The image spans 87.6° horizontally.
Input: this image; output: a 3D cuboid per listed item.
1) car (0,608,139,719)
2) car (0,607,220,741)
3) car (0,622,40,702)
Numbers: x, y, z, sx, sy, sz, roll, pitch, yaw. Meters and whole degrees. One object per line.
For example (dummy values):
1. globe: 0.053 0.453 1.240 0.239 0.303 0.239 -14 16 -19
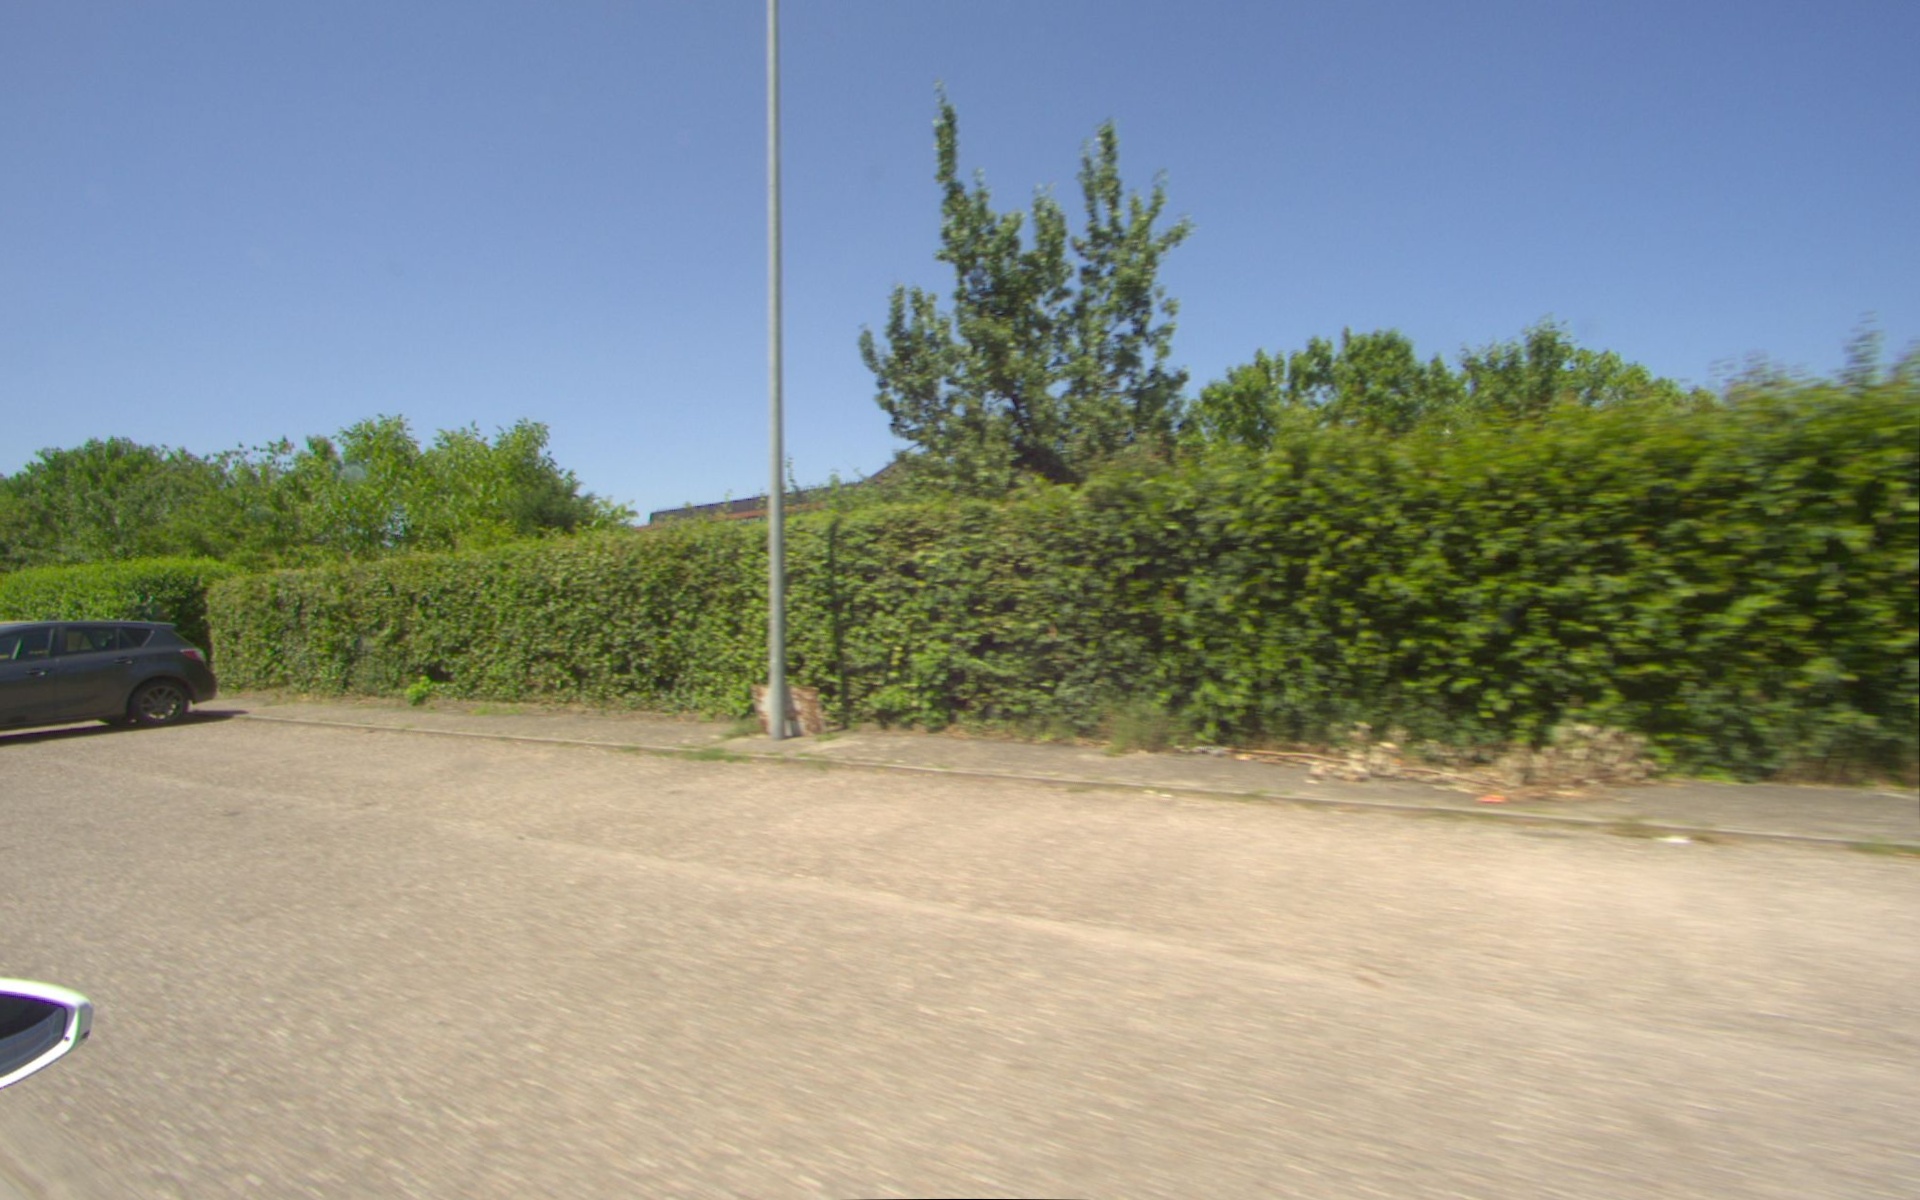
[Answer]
1. car: -14.600 0.994 14.478 1.749 1.475 3.790 -1 3 32
2. car: -12.171 0.934 12.622 1.856 1.516 4.153 -1 1 32
3. car: -17.324 1.146 15.859 1.605 1.286 3.722 -1 3 34
